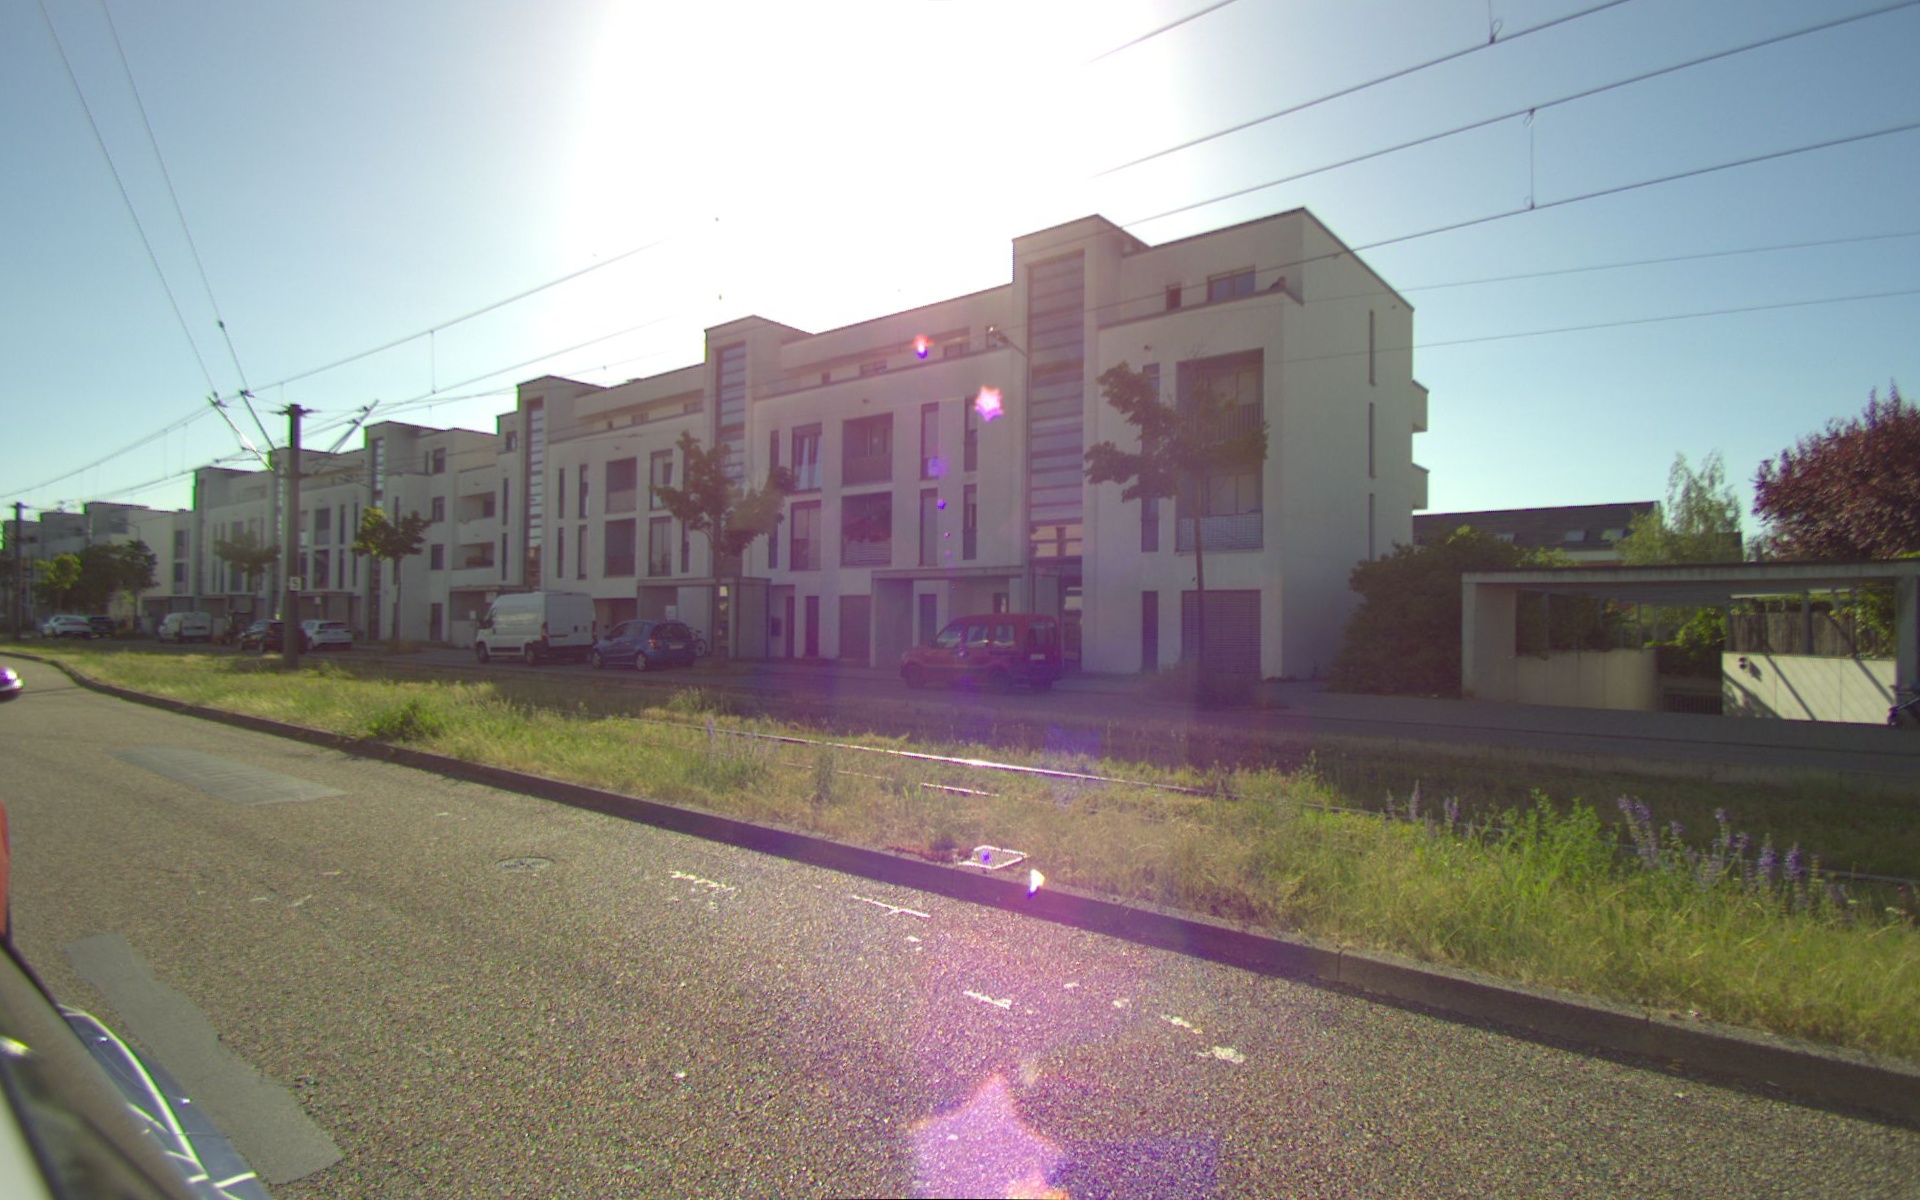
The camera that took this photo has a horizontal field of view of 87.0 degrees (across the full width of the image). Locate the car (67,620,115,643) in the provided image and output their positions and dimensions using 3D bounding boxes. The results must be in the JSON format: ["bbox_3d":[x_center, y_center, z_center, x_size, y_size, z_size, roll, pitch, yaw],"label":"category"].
[{"bbox_3d":[-63.044,2.295,73.400,4.149,1.611,1.745,-1,-1,37],"label":"car"}]

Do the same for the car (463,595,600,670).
[{"bbox_3d":[-15.326,1.116,36.036,5.583,2.463,2.119,-1,-1,39],"label":"car"}]

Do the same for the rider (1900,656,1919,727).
[{"bbox_3d":[14.547,1.353,14.849,0.769,1.010,1.046,0,-1,-44],"label":"rider"}]

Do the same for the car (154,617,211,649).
[{"bbox_3d":[-47.306,1.978,61.546,4.149,1.884,1.745,-1,-1,37],"label":"car"}]

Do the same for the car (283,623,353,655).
[{"bbox_3d":[-31.122,1.870,48.991,4.149,1.443,1.503,-1,-1,37],"label":"car"}]

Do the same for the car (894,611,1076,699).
[{"bbox_3d":[0.519,1.180,22.975,3.836,1.809,1.861,-1,-1,42],"label":"car"}]

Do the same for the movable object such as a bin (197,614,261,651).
[{"bbox_3d":[-40.767,1.787,56.385,4.149,1.952,1.745,-1,-1,37],"label":"movable object such as a bin"}]

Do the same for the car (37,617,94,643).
[{"bbox_3d":[-58.675,1.987,66.383,4.641,1.608,1.974,-1,-4,39],"label":"car"}]

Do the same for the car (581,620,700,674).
[{"bbox_3d":[-10.029,1.428,31.663,3.840,1.548,1.805,-1,-1,41],"label":"car"}]

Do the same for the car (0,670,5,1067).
[{"bbox_3d":[-5.731,0.612,4.332,5.203,1.948,1.954,-1,0,42],"label":"car"}]

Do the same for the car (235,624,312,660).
[{"bbox_3d":[-29.349,1.774,43.221,3.999,1.429,1.769,-1,-4,42],"label":"car"}]
